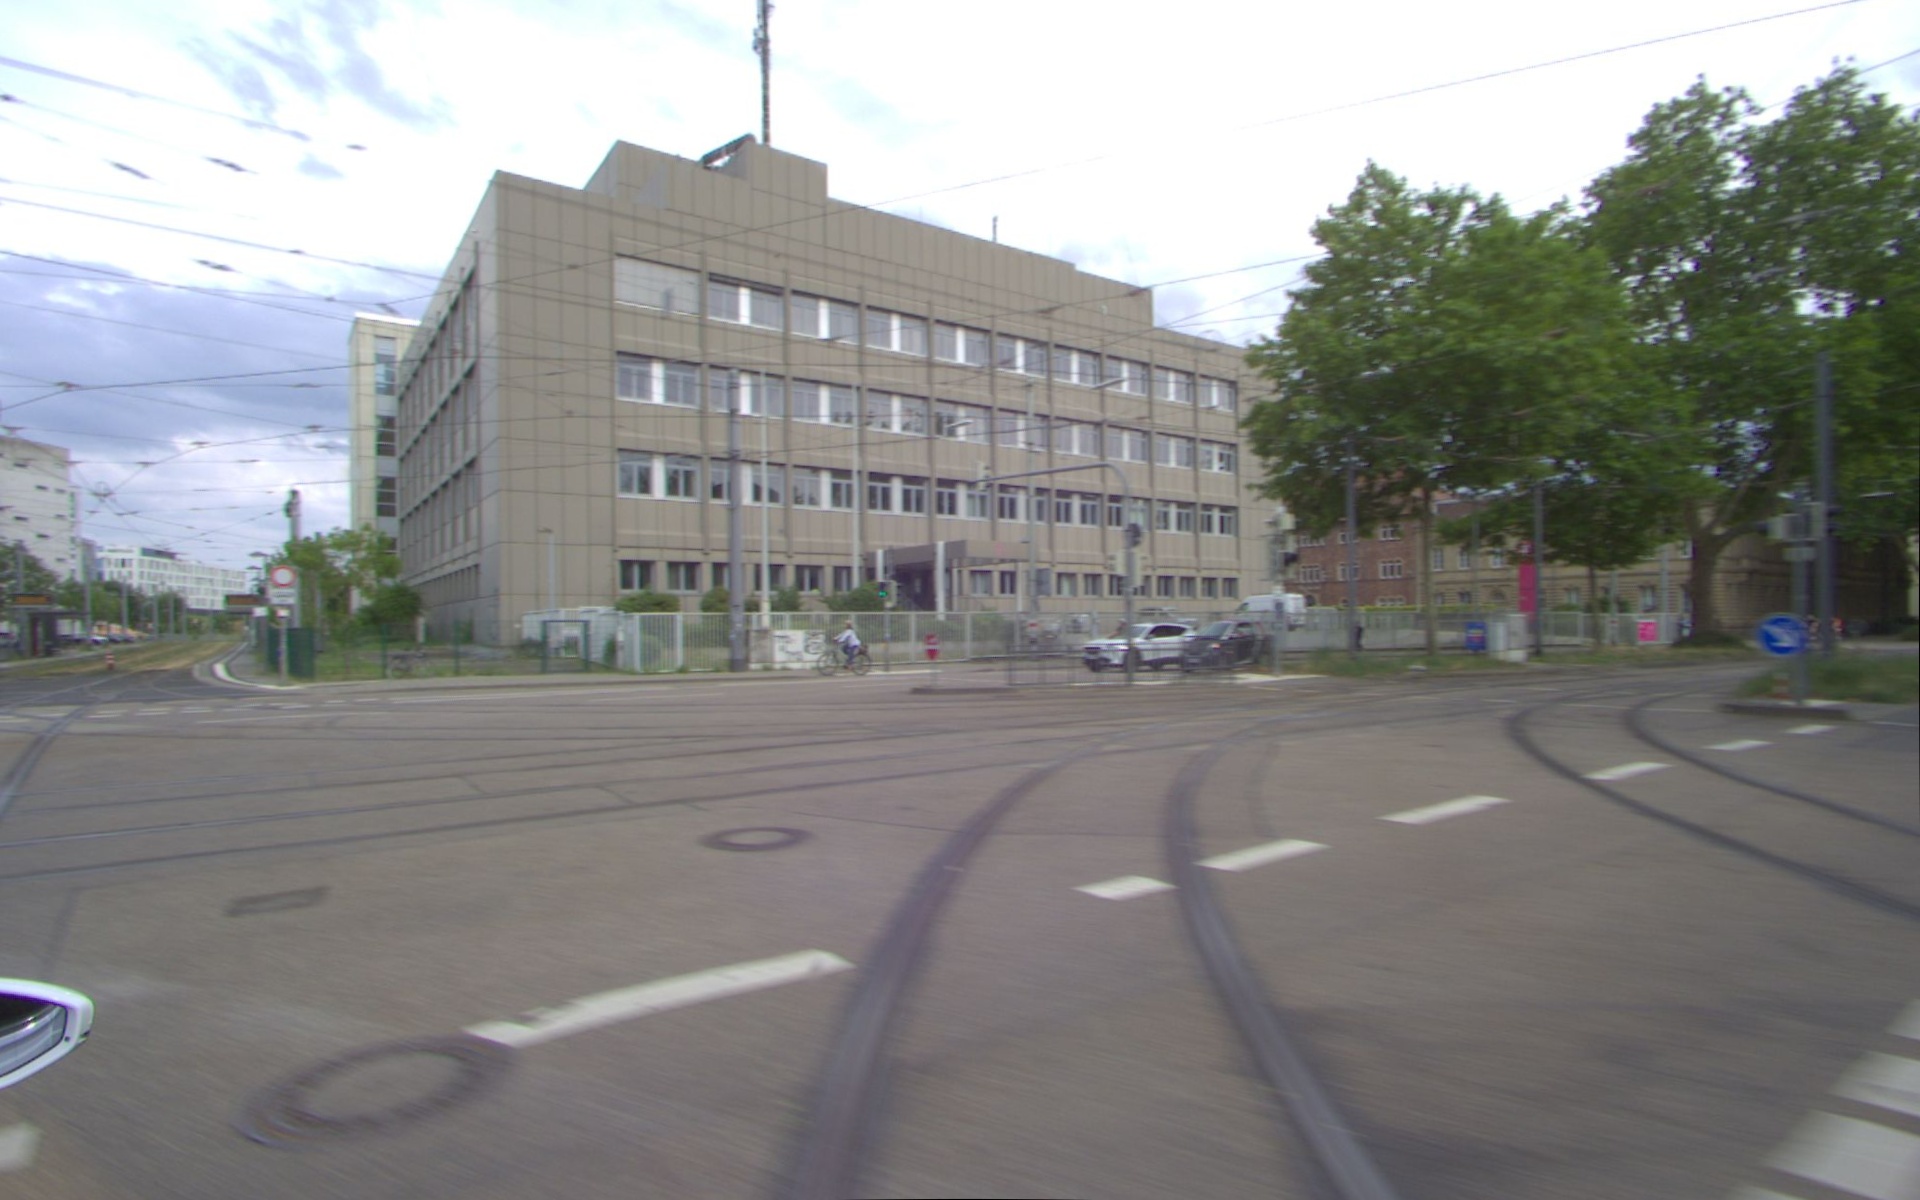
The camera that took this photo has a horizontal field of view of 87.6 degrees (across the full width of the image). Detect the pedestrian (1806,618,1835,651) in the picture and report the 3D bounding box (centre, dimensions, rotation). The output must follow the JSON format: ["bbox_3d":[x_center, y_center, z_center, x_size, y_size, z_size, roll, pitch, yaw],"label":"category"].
[{"bbox_3d":[50.311,2.024,58.526,1.232,1.889,0.833,0,0,-25],"label":"pedestrian"}]

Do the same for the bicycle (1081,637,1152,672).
[{"bbox_3d":[5.415,1.855,34.539,2.527,1.100,0.798,0,-1,-32],"label":"bicycle"}]

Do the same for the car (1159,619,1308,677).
[{"bbox_3d":[8.228,1.392,30.055,4.359,1.587,1.827,0,-1,-31],"label":"car"}]

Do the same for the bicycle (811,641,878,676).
[{"bbox_3d":[-3.836,1.922,33.151,2.144,1.100,0.802,0,-1,-13],"label":"bicycle"}]

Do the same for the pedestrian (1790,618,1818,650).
[{"bbox_3d":[50.069,2.027,59.394,1.157,1.889,0.833,0,0,-26],"label":"pedestrian"}]

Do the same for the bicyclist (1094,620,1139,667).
[{"bbox_3d":[5.394,1.478,34.522,1.311,1.570,0.798,0,0,-32],"label":"bicyclist"}]

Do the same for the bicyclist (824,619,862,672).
[{"bbox_3d":[-3.881,1.491,33.153,1.160,1.723,0.802,0,0,-13],"label":"bicyclist"}]

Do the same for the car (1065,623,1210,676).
[{"bbox_3d":[5.647,1.511,31.699,4.362,1.524,1.987,0,-1,-34],"label":"car"}]

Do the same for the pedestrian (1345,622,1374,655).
[{"bbox_3d":[19.581,1.872,49.052,0.966,1.590,0.879,-1,0,-29],"label":"pedestrian"}]

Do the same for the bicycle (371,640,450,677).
[{"bbox_3d":[-16.727,1.787,30.478,2.118,0.993,0.634,-3,-1,8],"label":"bicycle"}]

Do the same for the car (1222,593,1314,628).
[{"bbox_3d":[21.748,0.789,71.002,2.539,2.430,5.854,0,-1,-38],"label":"car"}]

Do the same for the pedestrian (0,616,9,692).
[{"bbox_3d":[-25.067,1.383,25.477,1.074,1.923,0.897,-1,0,-31],"label":"pedestrian"}]
